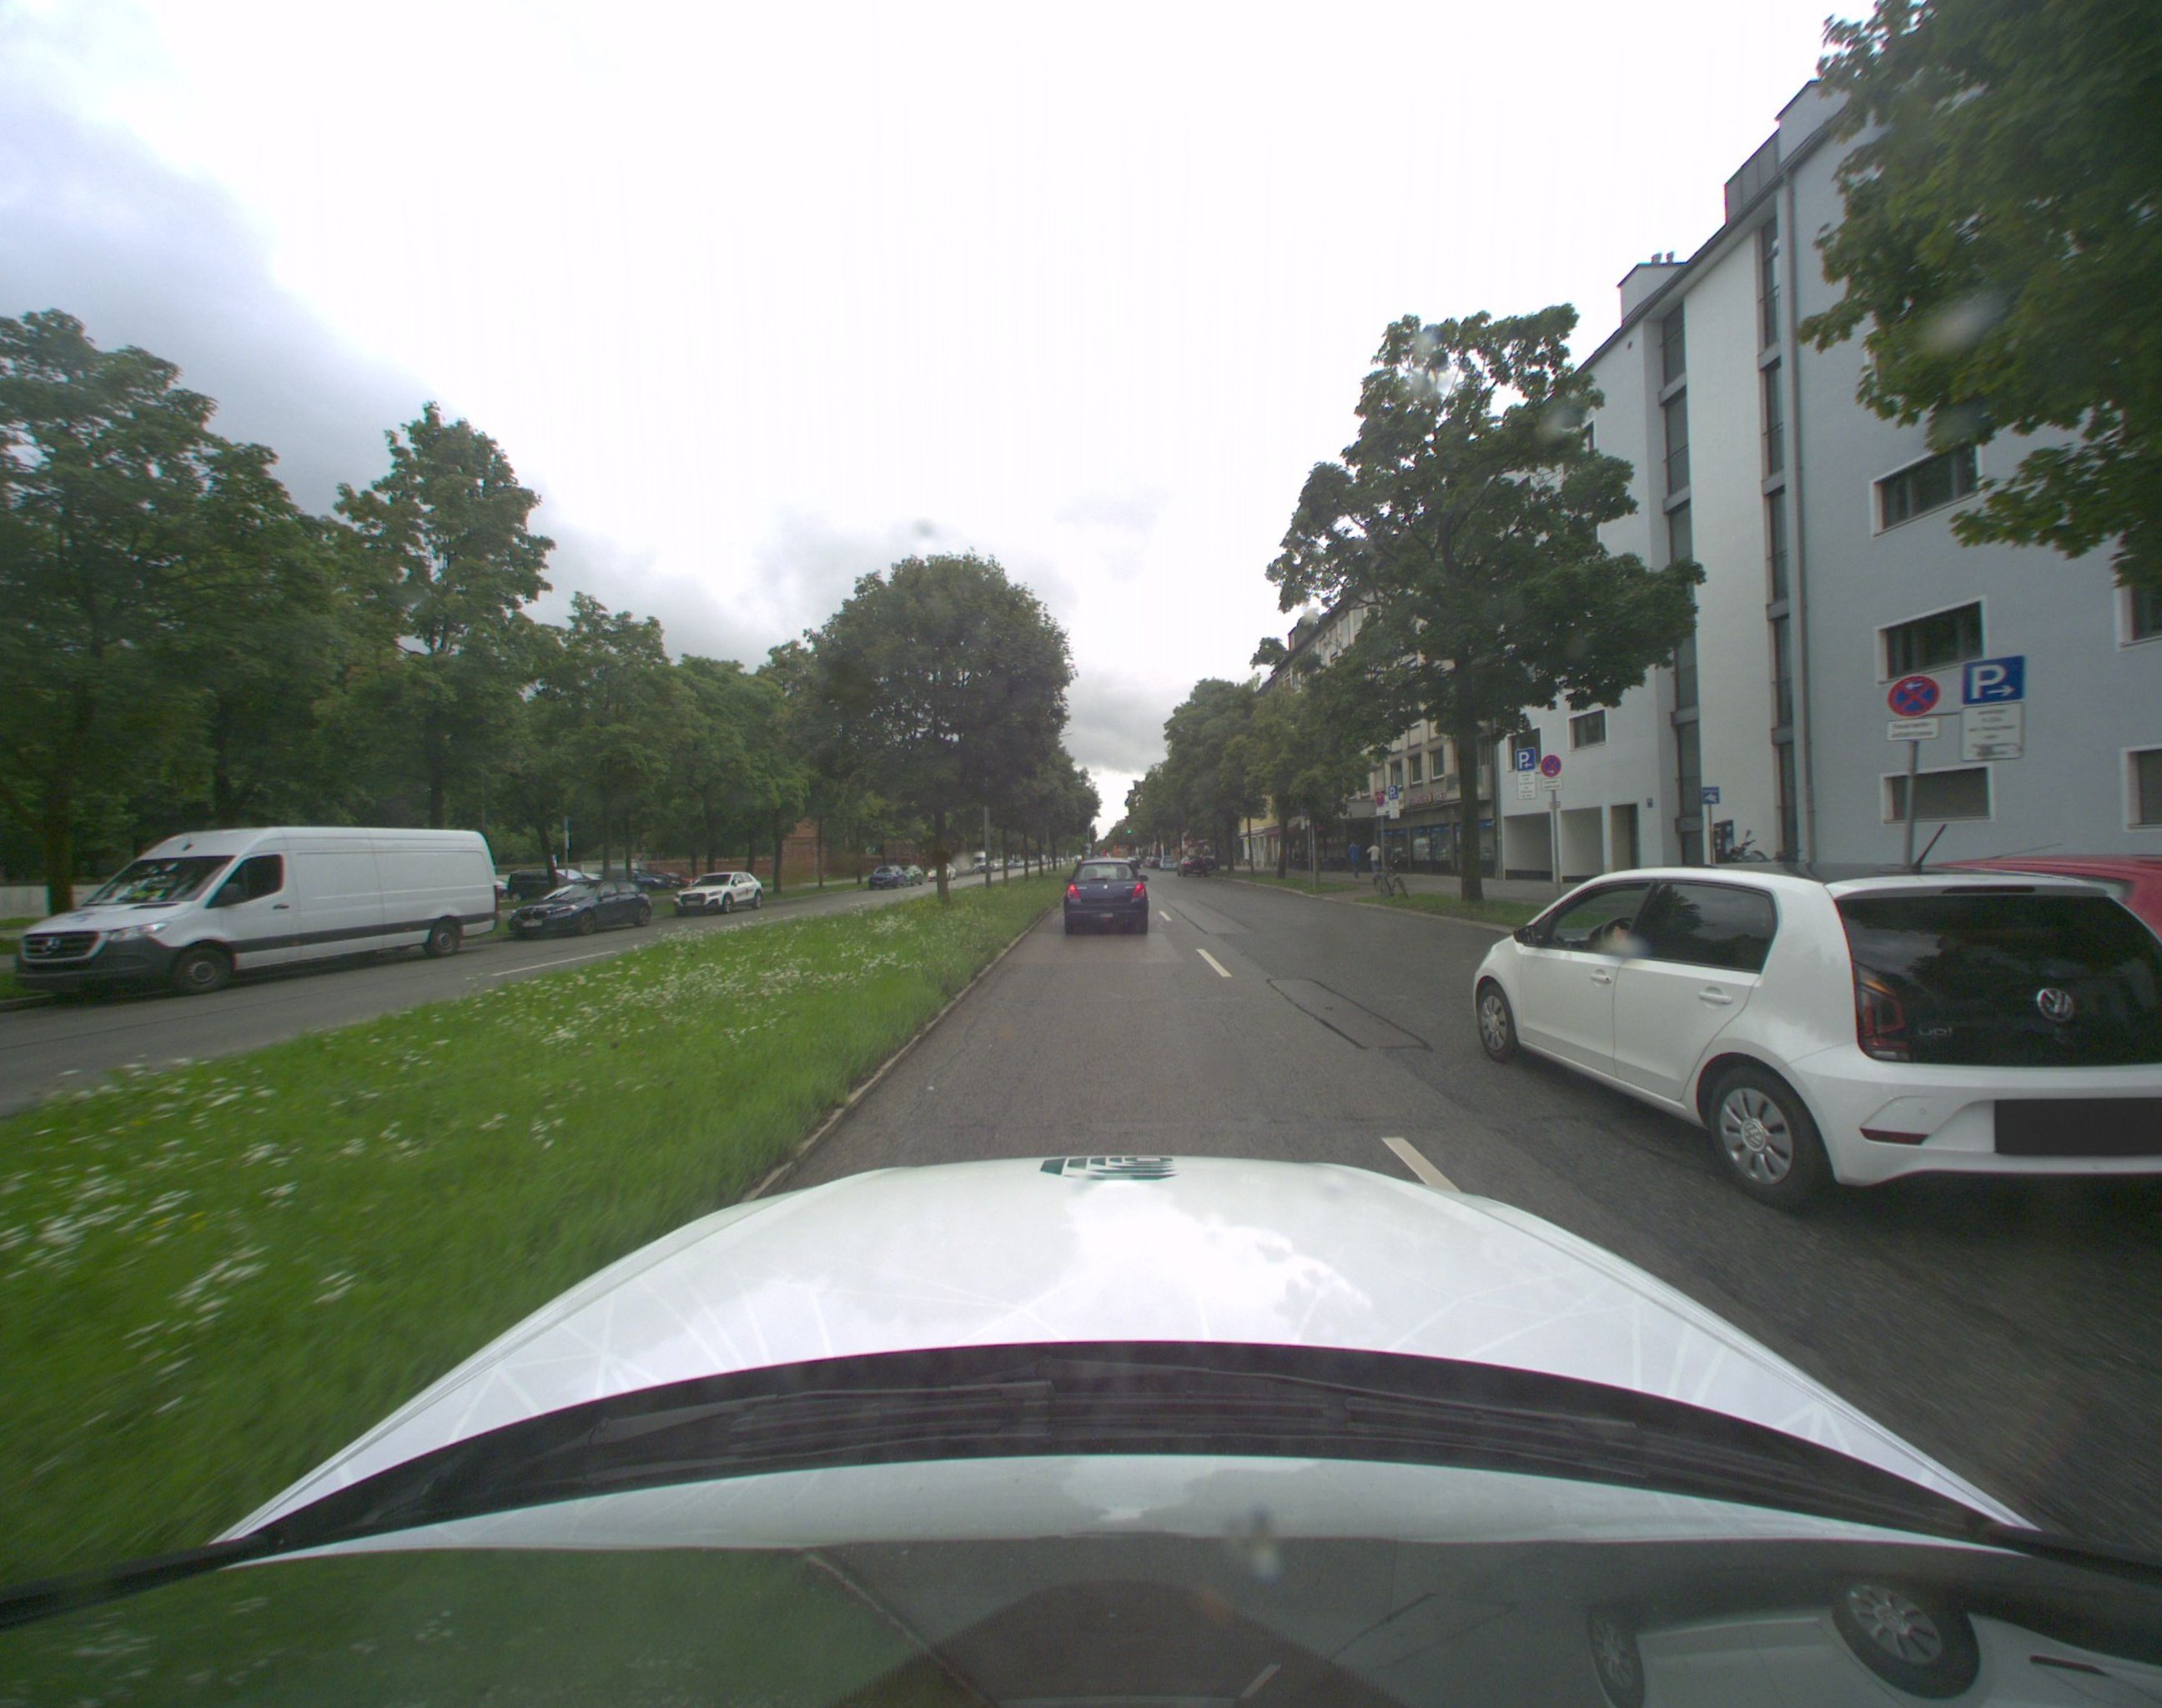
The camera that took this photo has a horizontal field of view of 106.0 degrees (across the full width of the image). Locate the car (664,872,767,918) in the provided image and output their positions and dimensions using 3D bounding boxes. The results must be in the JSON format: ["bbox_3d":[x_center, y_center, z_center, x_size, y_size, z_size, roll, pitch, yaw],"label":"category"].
[{"bbox_3d":[-13.387,1.457,30.110,1.851,1.491,4.141,-2,-1,0],"label":"car"}]

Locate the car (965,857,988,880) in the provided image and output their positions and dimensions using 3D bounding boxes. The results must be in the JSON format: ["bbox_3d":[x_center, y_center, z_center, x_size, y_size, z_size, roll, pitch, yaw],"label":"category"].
[{"bbox_3d":[-13.640,1.837,106.682,2.179,2.954,6.189,-1,0,-1],"label":"car"}]

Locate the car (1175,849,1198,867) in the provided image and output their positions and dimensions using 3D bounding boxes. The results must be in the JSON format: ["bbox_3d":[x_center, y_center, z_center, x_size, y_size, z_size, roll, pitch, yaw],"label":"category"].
[{"bbox_3d":[10.047,0.369,77.851,1.808,1.626,4.310,-3,0,3],"label":"car"}]

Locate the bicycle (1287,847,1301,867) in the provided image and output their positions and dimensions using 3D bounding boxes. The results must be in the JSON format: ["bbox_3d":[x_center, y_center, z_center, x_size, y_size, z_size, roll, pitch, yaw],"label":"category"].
[{"bbox_3d":[15.704,0.241,59.990,0.578,1.463,1.689,-2,0,2],"label":"bicycle"}]

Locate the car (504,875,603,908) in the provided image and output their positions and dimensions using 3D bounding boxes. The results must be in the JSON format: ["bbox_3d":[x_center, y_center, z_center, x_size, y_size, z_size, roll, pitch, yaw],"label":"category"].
[{"bbox_3d":[-26.777,1.901,41.357,3.958,1.505,2.008,-2,0,14],"label":"car"}]

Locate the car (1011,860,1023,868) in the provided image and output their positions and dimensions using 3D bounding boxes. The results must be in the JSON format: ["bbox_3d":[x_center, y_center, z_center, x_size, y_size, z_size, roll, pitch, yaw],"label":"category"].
[{"bbox_3d":[-12.222,1.940,155.551,1.795,1.534,4.001,-2,0,1],"label":"car"}]

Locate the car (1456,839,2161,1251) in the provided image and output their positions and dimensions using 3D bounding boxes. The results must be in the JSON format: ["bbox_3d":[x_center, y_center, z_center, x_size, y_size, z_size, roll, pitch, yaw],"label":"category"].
[{"bbox_3d":[3.767,0.695,4.686,1.681,1.490,3.435,0,0,1],"label":"car"}]

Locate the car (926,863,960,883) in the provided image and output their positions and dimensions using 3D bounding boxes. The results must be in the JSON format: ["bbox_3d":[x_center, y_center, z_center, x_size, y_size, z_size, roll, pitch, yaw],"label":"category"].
[{"bbox_3d":[-11.948,1.636,70.653,1.753,1.537,4.320,-4,0,4],"label":"car"}]

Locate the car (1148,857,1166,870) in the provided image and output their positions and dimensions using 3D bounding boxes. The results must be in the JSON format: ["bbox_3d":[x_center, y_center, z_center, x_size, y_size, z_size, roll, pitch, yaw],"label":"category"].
[{"bbox_3d":[9.329,1.147,100.421,1.648,1.452,4.706,-2,0,-1],"label":"car"}]

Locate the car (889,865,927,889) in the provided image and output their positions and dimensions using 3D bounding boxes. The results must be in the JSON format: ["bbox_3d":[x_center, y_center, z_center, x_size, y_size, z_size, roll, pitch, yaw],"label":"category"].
[{"bbox_3d":[-12.422,1.616,58.823,1.632,1.537,4.316,-4,0,1],"label":"car"}]

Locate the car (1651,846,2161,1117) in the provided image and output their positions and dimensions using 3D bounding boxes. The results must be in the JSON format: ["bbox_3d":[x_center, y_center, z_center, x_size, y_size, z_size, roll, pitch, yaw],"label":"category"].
[{"bbox_3d":[6.475,0.693,5.982,1.519,1.441,3.993,-2,0,-5],"label":"car"}]

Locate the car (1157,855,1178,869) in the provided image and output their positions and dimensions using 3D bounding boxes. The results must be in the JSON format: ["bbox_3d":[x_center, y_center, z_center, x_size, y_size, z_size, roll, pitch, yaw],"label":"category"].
[{"bbox_3d":[8.917,0.809,83.769,1.648,1.452,3.998,-2,0,-1],"label":"car"}]

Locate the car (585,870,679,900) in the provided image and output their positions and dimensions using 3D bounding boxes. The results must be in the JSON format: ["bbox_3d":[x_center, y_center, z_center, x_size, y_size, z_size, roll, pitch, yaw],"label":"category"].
[{"bbox_3d":[-26.063,1.771,47.377,4.334,1.505,2.000,-2,0,1],"label":"car"}]

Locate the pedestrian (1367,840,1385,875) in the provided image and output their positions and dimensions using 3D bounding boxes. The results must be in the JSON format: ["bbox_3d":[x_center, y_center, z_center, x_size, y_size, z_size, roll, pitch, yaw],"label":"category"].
[{"bbox_3d":[14.057,0.184,38.849,0.547,1.629,0.641,-3,0,1],"label":"pedestrian"}]

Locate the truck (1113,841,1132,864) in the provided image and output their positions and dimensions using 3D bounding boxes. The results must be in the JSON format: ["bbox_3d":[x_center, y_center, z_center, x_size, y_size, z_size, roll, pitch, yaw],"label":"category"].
[{"bbox_3d":[6.880,-0.217,137.011,3.029,3.557,13.682,-1,0,2],"label":"truck"}]

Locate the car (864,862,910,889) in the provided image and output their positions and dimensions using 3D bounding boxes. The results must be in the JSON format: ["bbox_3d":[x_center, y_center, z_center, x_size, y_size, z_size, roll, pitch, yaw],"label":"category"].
[{"bbox_3d":[-12.581,1.348,53.069,1.881,1.537,4.313,-4,0,0],"label":"car"}]

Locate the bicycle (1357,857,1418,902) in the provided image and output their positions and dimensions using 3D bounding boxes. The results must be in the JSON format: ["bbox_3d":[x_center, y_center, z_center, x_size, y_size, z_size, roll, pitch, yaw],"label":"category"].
[{"bbox_3d":[9.005,0.739,24.023,0.455,1.256,2.137,-2,0,-17],"label":"bicycle"}]

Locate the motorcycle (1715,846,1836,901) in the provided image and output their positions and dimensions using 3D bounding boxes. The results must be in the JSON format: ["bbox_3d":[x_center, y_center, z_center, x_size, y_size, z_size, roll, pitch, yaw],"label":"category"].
[{"bbox_3d":[14.939,0.398,17.621,0.758,1.086,2.200,-2,0,2],"label":"motorcycle"}]

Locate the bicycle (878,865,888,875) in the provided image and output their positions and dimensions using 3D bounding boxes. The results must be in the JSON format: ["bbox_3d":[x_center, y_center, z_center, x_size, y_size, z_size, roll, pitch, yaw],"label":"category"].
[{"bbox_3d":[-20.946,1.690,86.091,0.653,0.936,1.619,-2,0,-1],"label":"bicycle"}]

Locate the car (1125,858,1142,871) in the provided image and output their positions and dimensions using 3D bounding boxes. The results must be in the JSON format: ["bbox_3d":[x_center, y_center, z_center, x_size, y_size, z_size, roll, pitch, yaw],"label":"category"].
[{"bbox_3d":[6.336,1.260,98.889,1.815,1.477,4.692,0,0,1],"label":"car"}]

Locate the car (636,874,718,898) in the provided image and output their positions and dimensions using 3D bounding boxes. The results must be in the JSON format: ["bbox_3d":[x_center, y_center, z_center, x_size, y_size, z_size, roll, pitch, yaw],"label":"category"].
[{"bbox_3d":[-26.066,2.060,52.645,4.397,1.392,1.760,-2,0,1],"label":"car"}]

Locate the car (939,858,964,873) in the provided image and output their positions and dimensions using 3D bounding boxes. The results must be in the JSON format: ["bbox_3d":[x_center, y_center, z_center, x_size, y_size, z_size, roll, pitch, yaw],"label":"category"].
[{"bbox_3d":[-13.433,1.162,84.419,1.807,1.536,4.298,-1,0,1],"label":"car"}]

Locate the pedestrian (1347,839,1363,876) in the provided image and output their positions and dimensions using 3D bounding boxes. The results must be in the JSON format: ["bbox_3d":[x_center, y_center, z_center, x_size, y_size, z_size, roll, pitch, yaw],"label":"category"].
[{"bbox_3d":[13.065,0.188,38.855,0.498,1.733,0.733,-2,0,1],"label":"pedestrian"}]

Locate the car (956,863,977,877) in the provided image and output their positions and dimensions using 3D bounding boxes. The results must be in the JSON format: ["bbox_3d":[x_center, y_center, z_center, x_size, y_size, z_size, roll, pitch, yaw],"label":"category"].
[{"bbox_3d":[-13.227,1.788,94.321,1.807,1.536,4.441,-1,0,1],"label":"car"}]

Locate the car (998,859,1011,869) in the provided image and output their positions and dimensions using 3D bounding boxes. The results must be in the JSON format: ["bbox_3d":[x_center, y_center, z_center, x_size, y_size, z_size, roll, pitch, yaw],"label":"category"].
[{"bbox_3d":[-13.035,1.659,138.495,1.700,1.534,4.001,-2,0,1],"label":"car"}]

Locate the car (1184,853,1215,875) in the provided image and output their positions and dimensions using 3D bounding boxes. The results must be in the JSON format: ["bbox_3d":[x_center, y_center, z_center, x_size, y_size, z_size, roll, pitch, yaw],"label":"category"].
[{"bbox_3d":[9.706,0.795,66.783,1.986,1.643,4.335,-2,0,2],"label":"car"}]

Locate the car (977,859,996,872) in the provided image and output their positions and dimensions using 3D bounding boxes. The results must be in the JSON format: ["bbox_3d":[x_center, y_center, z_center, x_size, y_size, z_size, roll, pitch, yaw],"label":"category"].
[{"bbox_3d":[-13.105,1.583,113.243,2.179,1.736,4.576,-1,0,-1],"label":"car"}]

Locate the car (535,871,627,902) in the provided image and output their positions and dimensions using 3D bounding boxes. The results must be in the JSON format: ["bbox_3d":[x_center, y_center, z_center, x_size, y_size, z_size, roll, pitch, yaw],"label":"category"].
[{"bbox_3d":[-27.030,1.748,44.077,3.958,1.505,2.008,-2,0,14],"label":"car"}]

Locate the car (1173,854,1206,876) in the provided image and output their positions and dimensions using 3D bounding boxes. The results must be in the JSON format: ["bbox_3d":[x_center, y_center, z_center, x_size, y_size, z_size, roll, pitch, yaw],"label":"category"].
[{"bbox_3d":[7.863,0.776,59.208,1.986,1.452,4.002,-2,0,2],"label":"car"}]

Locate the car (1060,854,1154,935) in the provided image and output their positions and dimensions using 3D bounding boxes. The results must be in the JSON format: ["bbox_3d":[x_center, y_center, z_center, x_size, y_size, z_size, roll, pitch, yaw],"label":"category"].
[{"bbox_3d":[0.582,0.774,17.558,1.746,1.505,4.002,-2,0,2],"label":"car"}]

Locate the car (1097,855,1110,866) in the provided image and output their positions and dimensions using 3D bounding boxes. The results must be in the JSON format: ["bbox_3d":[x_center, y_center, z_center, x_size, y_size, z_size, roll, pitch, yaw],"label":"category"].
[{"bbox_3d":[3.150,0.847,115.367,1.712,1.500,4.302,-1,0,1],"label":"car"}]

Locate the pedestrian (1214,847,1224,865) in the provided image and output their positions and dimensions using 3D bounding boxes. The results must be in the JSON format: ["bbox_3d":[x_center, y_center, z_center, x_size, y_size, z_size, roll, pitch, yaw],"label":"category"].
[{"bbox_3d":[14.673,0.220,86.423,0.790,1.855,0.776,-4,0,-1],"label":"pedestrian"}]

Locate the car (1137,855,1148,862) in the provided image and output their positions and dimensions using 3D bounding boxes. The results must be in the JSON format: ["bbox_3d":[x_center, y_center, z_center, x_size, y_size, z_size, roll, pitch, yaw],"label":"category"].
[{"bbox_3d":[12.624,0.911,166.473,1.986,1.530,4.001,-2,0,1],"label":"car"}]

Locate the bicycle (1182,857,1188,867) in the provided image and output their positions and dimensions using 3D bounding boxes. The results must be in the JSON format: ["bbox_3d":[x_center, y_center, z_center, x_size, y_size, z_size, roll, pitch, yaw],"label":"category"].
[{"bbox_3d":[10.744,0.794,84.026,0.446,0.980,1.799,-1,0,1],"label":"bicycle"}]

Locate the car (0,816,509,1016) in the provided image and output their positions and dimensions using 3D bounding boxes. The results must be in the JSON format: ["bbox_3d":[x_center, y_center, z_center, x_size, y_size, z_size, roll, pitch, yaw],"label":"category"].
[{"bbox_3d":[-14.058,0.846,14.684,2.132,2.643,7.108,-3,0,2],"label":"car"}]

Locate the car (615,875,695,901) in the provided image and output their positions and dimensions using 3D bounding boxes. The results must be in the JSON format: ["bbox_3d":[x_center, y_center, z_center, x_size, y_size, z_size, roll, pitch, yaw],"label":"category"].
[{"bbox_3d":[-26.369,2.105,50.496,3.962,1.392,1.760,-2,0,1],"label":"car"}]

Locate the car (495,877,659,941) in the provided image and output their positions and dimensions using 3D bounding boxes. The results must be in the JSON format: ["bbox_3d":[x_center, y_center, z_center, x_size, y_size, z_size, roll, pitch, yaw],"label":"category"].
[{"bbox_3d":[-13.717,1.437,22.513,1.851,1.491,4.251,-2,-1,0],"label":"car"}]

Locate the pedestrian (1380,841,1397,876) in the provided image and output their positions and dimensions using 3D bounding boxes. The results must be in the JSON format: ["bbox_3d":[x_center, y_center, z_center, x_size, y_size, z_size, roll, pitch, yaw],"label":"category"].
[{"bbox_3d":[14.731,0.204,39.031,0.539,1.640,0.725,-2,0,1],"label":"pedestrian"}]

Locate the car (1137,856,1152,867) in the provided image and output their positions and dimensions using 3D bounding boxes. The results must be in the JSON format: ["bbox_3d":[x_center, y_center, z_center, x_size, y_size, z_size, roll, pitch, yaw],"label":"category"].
[{"bbox_3d":[8.605,1.053,110.909,1.648,1.452,3.998,-2,0,-1],"label":"car"}]
